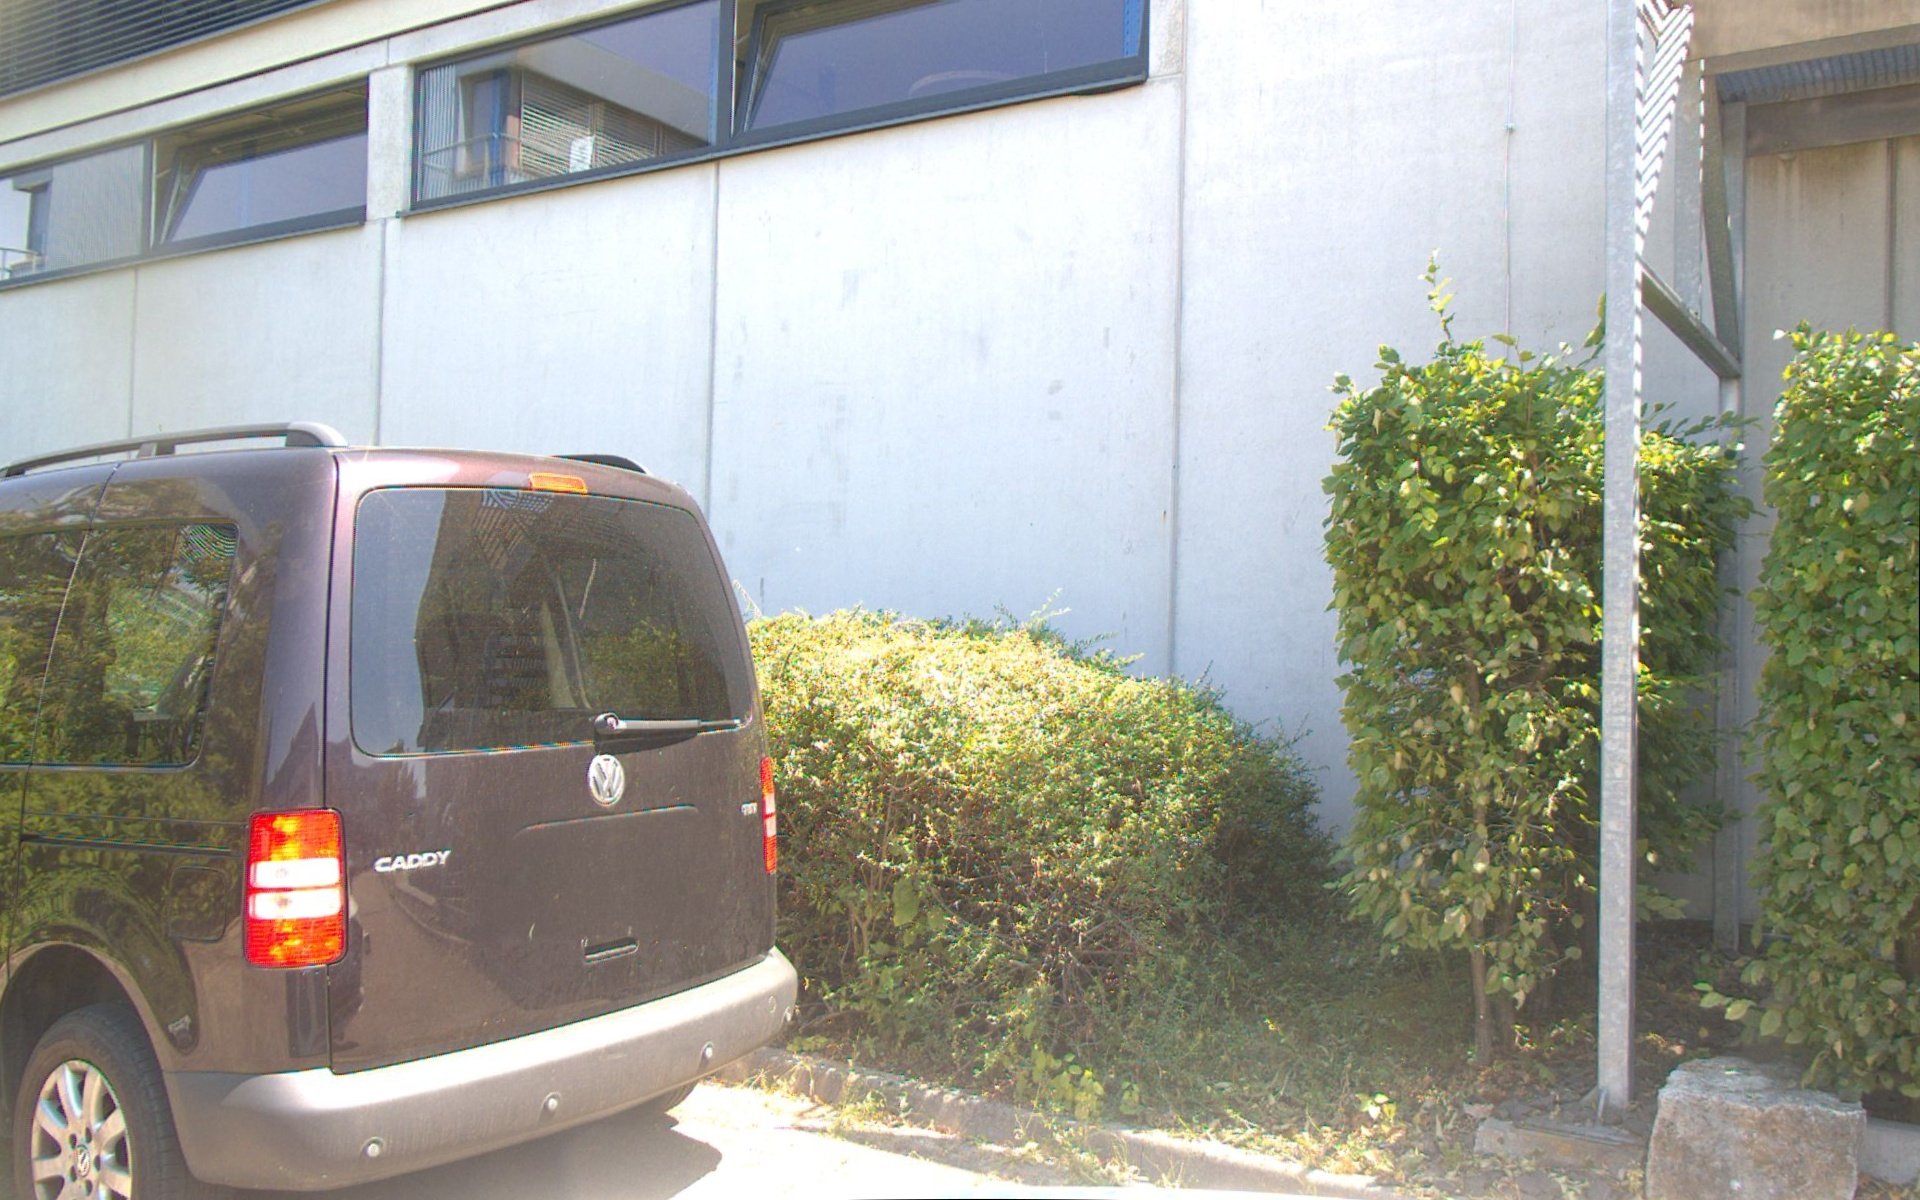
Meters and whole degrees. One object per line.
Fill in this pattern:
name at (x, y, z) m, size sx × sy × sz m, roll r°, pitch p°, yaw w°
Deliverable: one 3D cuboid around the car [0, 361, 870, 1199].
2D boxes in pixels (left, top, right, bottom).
car at (-2.361, 0.520, 4.782) m, size 3.987 × 1.917 × 1.673 m, roll 1°, pitch -1°, yaw 34°
